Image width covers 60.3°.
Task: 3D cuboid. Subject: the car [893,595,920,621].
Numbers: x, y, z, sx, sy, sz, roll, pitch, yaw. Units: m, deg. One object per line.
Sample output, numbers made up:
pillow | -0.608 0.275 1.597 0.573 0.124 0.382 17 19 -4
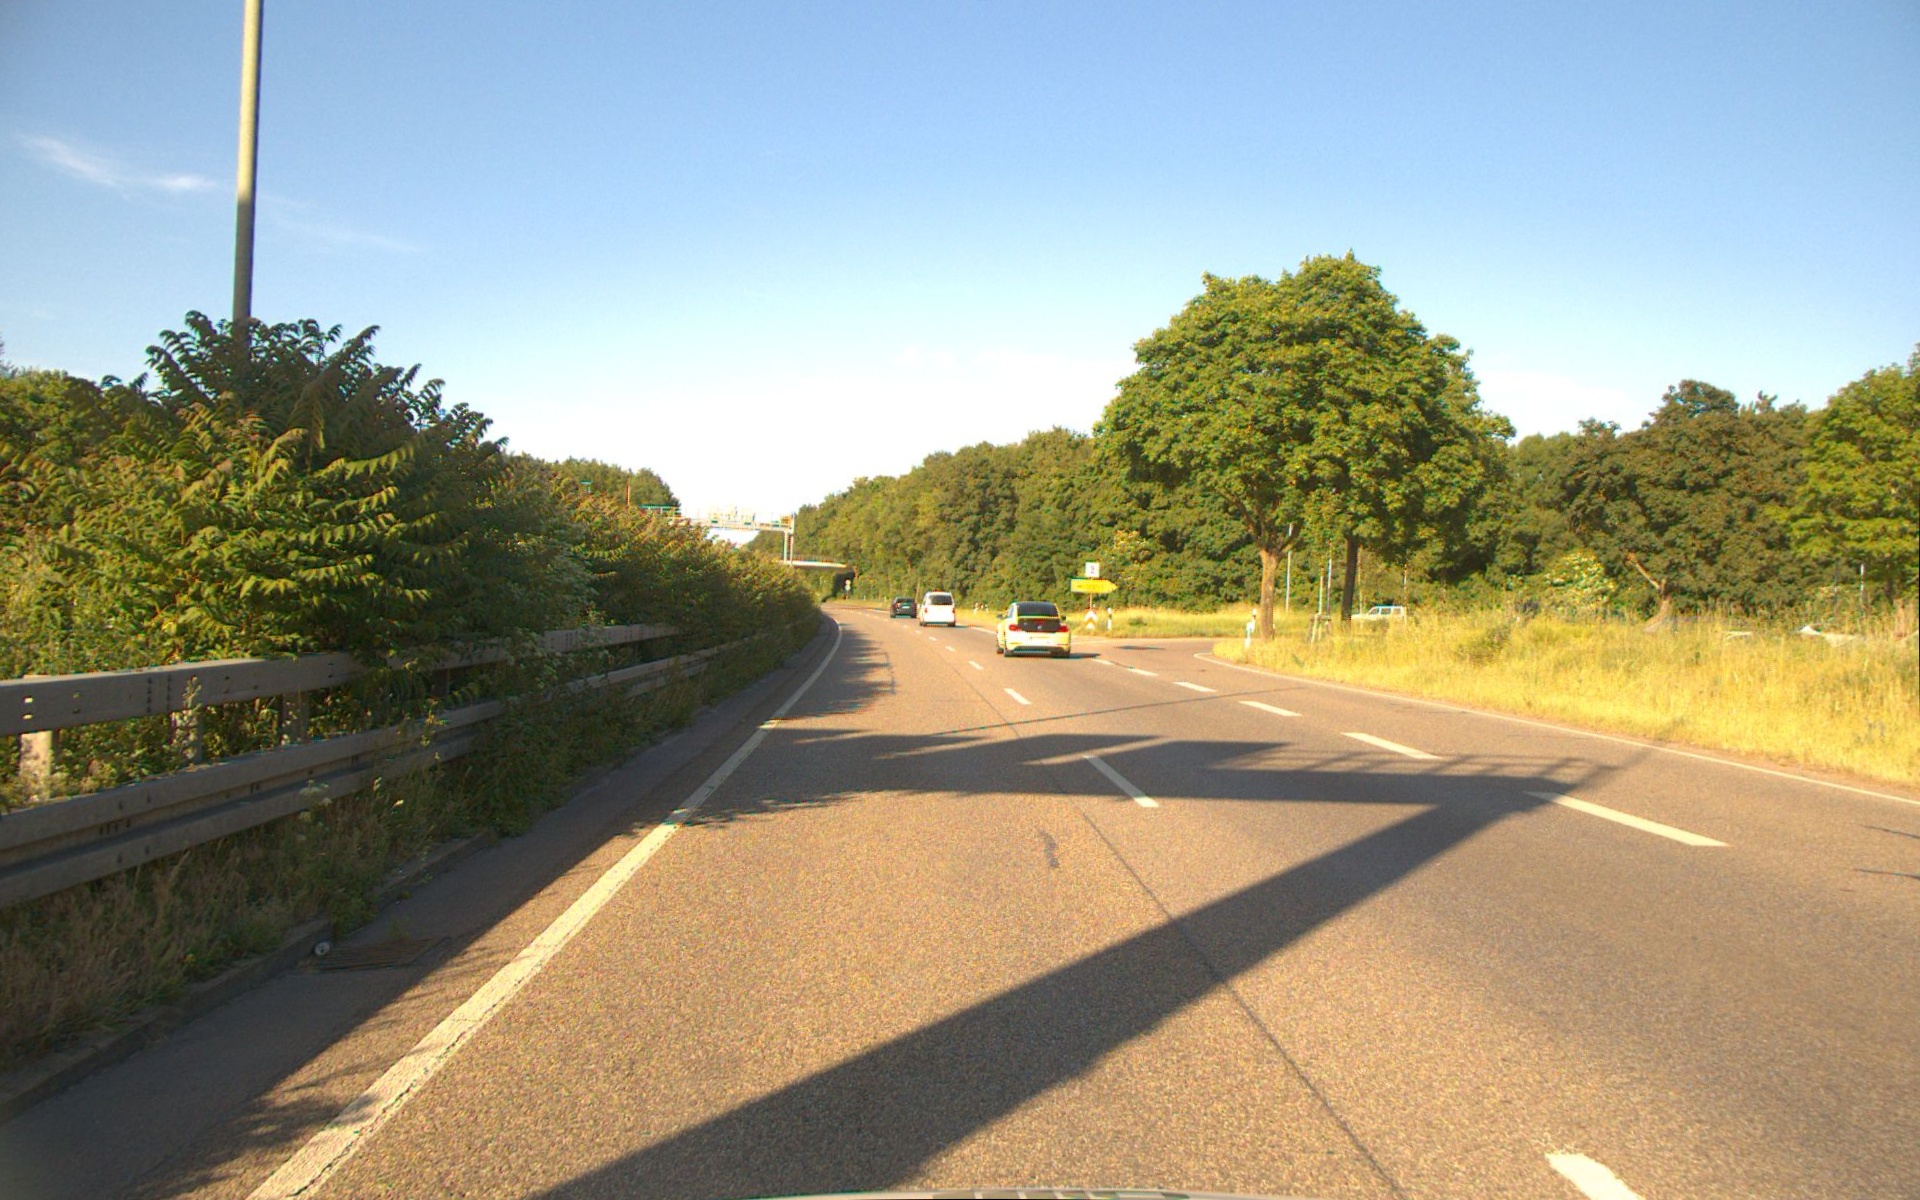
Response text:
car | -3.862 0.593 119.521 1.859 1.798 3.998 1 0 -2

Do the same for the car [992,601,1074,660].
car | 1.942 0.804 45.095 1.859 1.496 3.998 1 0 -3

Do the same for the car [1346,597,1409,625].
car | 29.509 0.767 116.869 3.927 1.856 1.893 1 0 41

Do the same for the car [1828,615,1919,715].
car | 21.661 1.490 35.919 4.697 2.059 2.023 2 -3 -7

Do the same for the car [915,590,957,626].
car | -1.303 0.454 87.725 1.860 1.798 3.995 1 -1 -5
